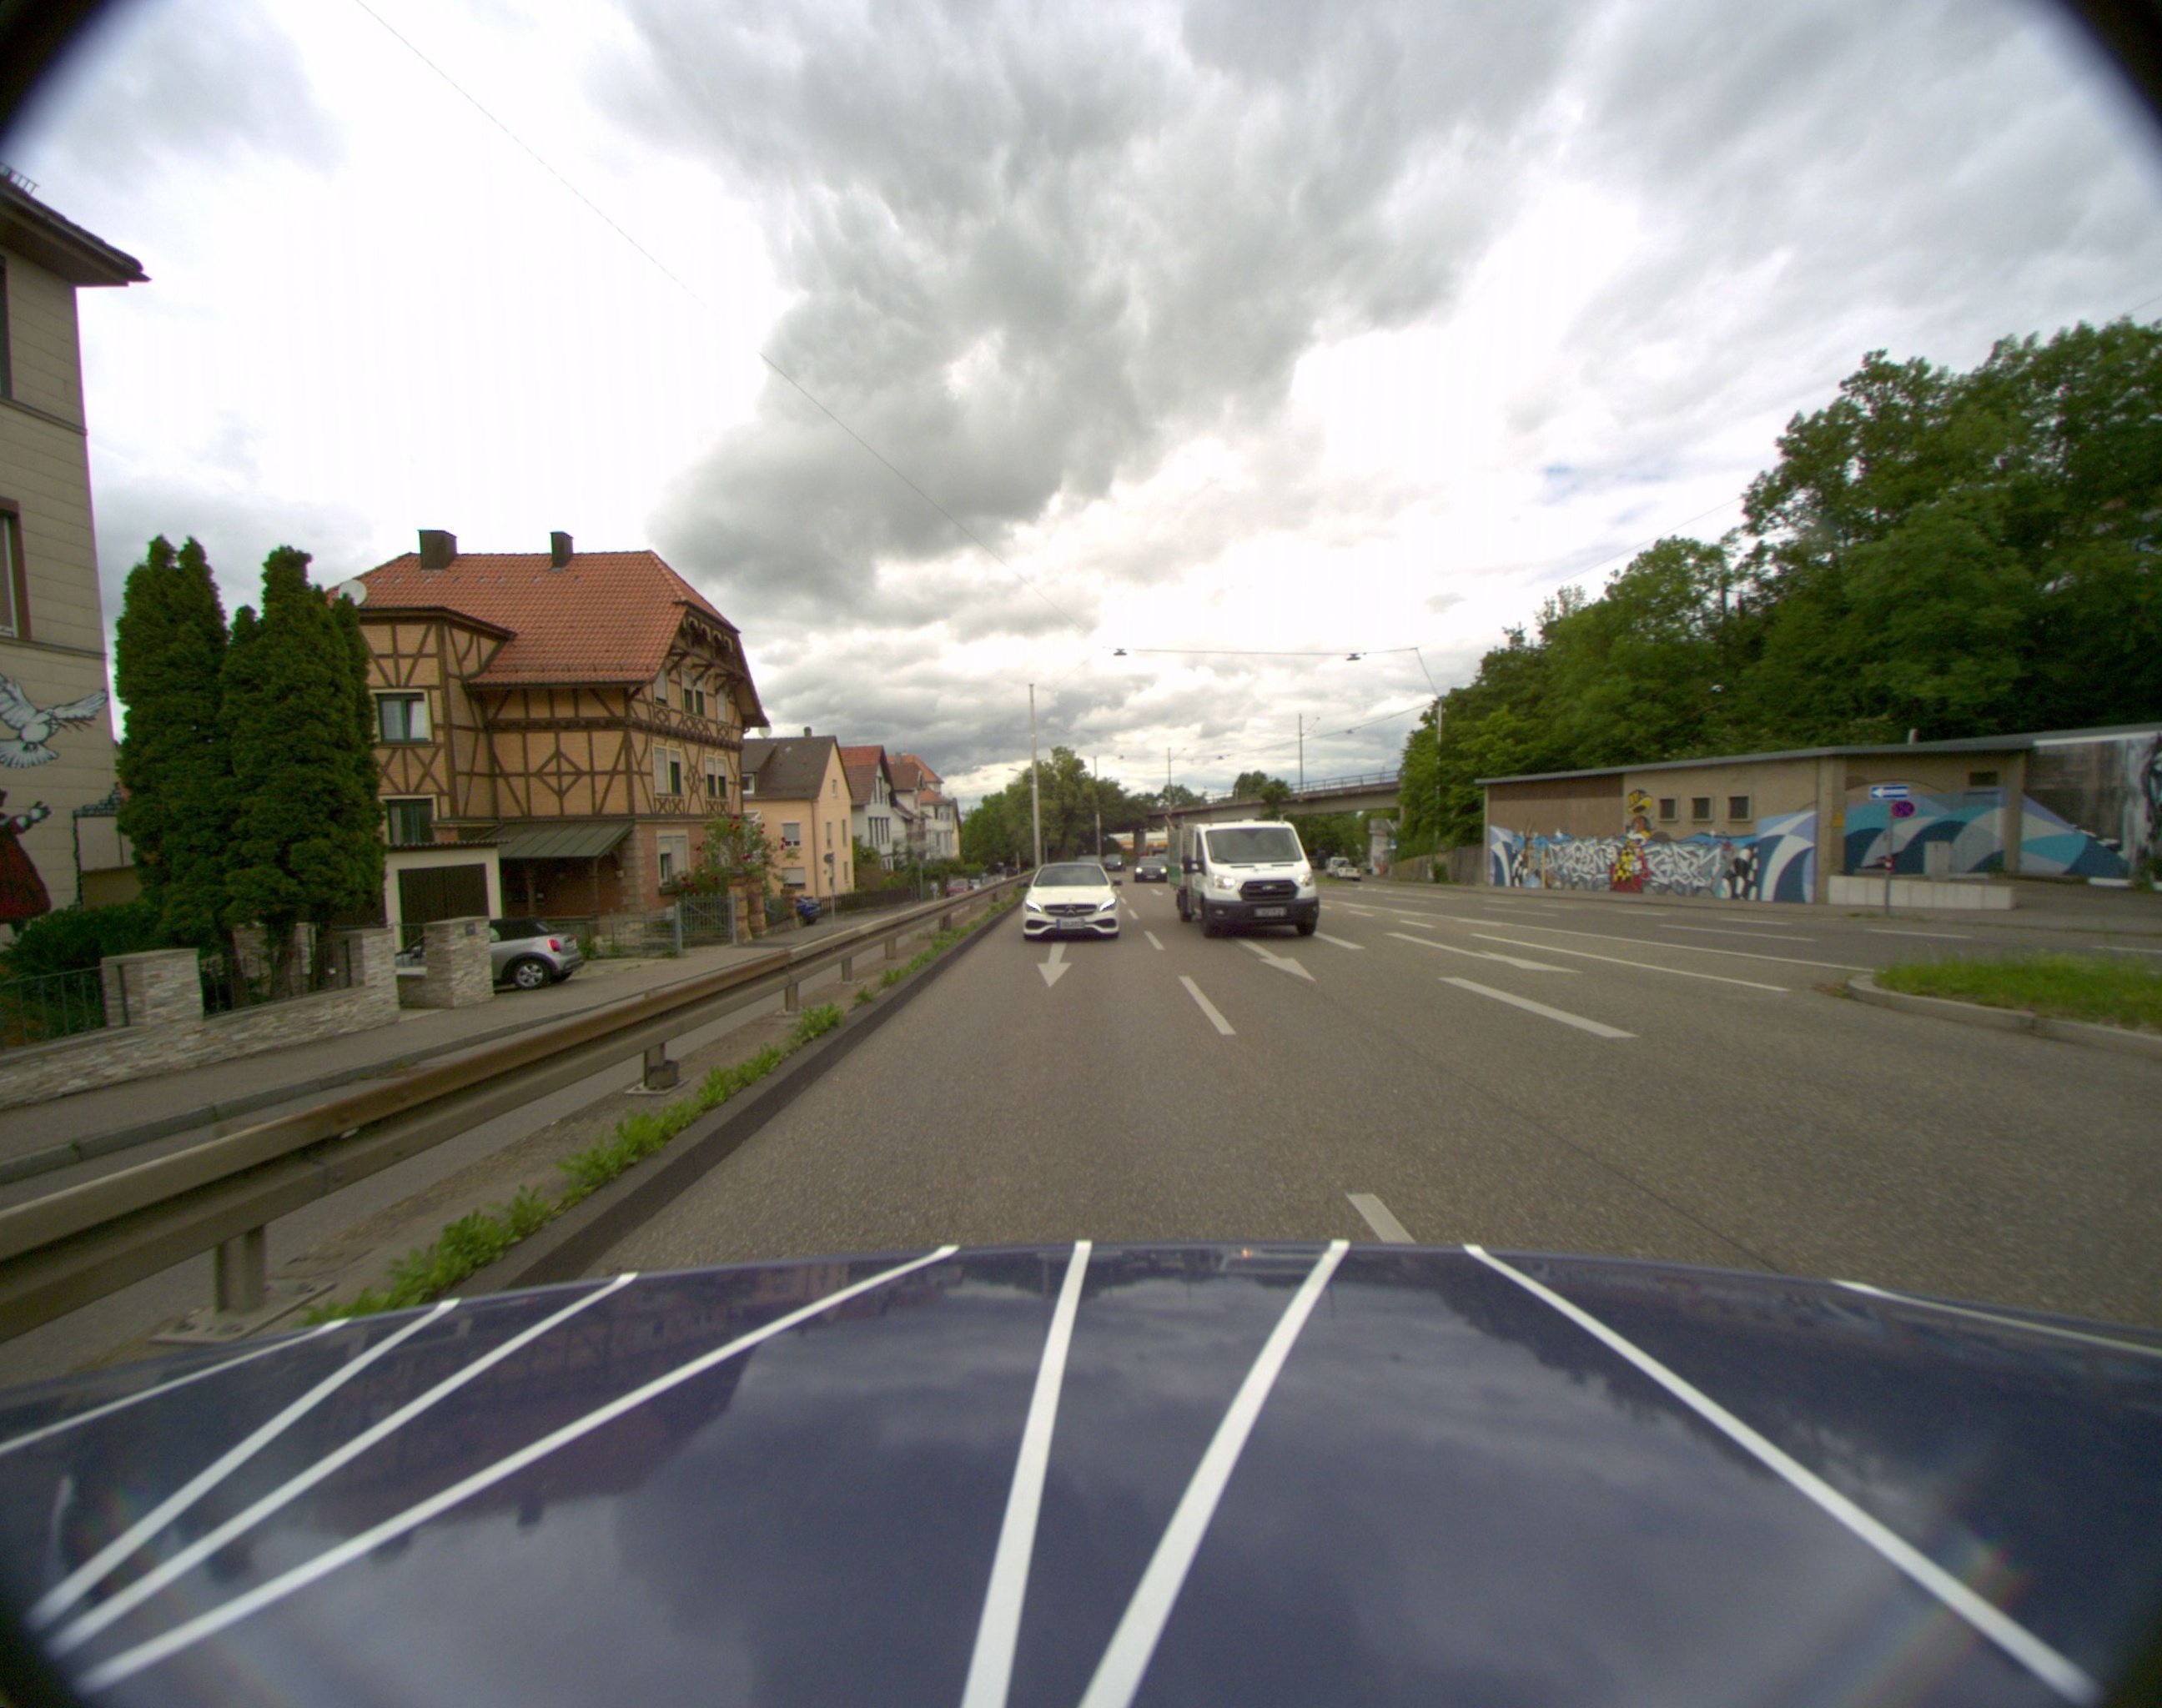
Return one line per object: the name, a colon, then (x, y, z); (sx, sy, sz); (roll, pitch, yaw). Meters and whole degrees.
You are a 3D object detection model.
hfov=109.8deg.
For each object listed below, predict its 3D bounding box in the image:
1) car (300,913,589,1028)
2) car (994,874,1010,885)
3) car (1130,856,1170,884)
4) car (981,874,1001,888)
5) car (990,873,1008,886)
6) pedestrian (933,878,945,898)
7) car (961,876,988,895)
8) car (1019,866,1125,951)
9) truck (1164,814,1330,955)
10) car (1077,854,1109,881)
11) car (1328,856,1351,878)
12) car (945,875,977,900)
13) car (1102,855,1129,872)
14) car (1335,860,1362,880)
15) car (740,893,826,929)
car: (-11.926, 2.134, 14.545); (3.800, 1.396, 1.544); (-7, 1, -19)
car: (-10.940, 3.486, 105.828); (1.851, 1.354, 3.999); (-3, 0, -2)
car: (3.970, 0.892, 44.284); (1.915, 1.472, 4.401); (-3, 0, 1)
car: (-9.929, 2.916, 83.919); (1.851, 1.354, 3.999); (-3, 0, -2)
car: (-10.063, 3.120, 93.673); (1.851, 1.354, 3.999); (-3, 0, -2)
pedestrian: (-10.476, 2.495, 55.925); (0.713, 1.462, 0.695); (-3, 0, -2)
car: (-9.429, 2.743, 67.687); (1.923, 1.490, 3.999); (-3, 0, -2)
car: (-0.121, 0.980, 15.218); (1.817, 1.390, 4.000); (-1, 0, 1)
truck: (3.124, 0.484, 15.908); (2.080, 2.307, 6.331); (-2, 1, 0)
car: (0.795, 0.794, 47.007); (1.777, 1.532, 4.001); (-3, 0, 3)
car: (22.435, 1.129, 66.083); (1.634, 1.793, 4.005); (-3, 0, 16)
car: (-9.121, 2.518, 58.133); (1.923, 1.641, 3.999); (-3, 0, -2)
car: (3.045, 0.803, 66.511); (1.776, 1.390, 4.003); (-3, 0, 10)
car: (21.033, 1.217, 59.856); (1.634, 1.411, 4.005); (-3, 0, 16)
car: (-15.354, 2.936, 39.348); (3.797, 1.554, 1.546); (-3, 0, -6)
